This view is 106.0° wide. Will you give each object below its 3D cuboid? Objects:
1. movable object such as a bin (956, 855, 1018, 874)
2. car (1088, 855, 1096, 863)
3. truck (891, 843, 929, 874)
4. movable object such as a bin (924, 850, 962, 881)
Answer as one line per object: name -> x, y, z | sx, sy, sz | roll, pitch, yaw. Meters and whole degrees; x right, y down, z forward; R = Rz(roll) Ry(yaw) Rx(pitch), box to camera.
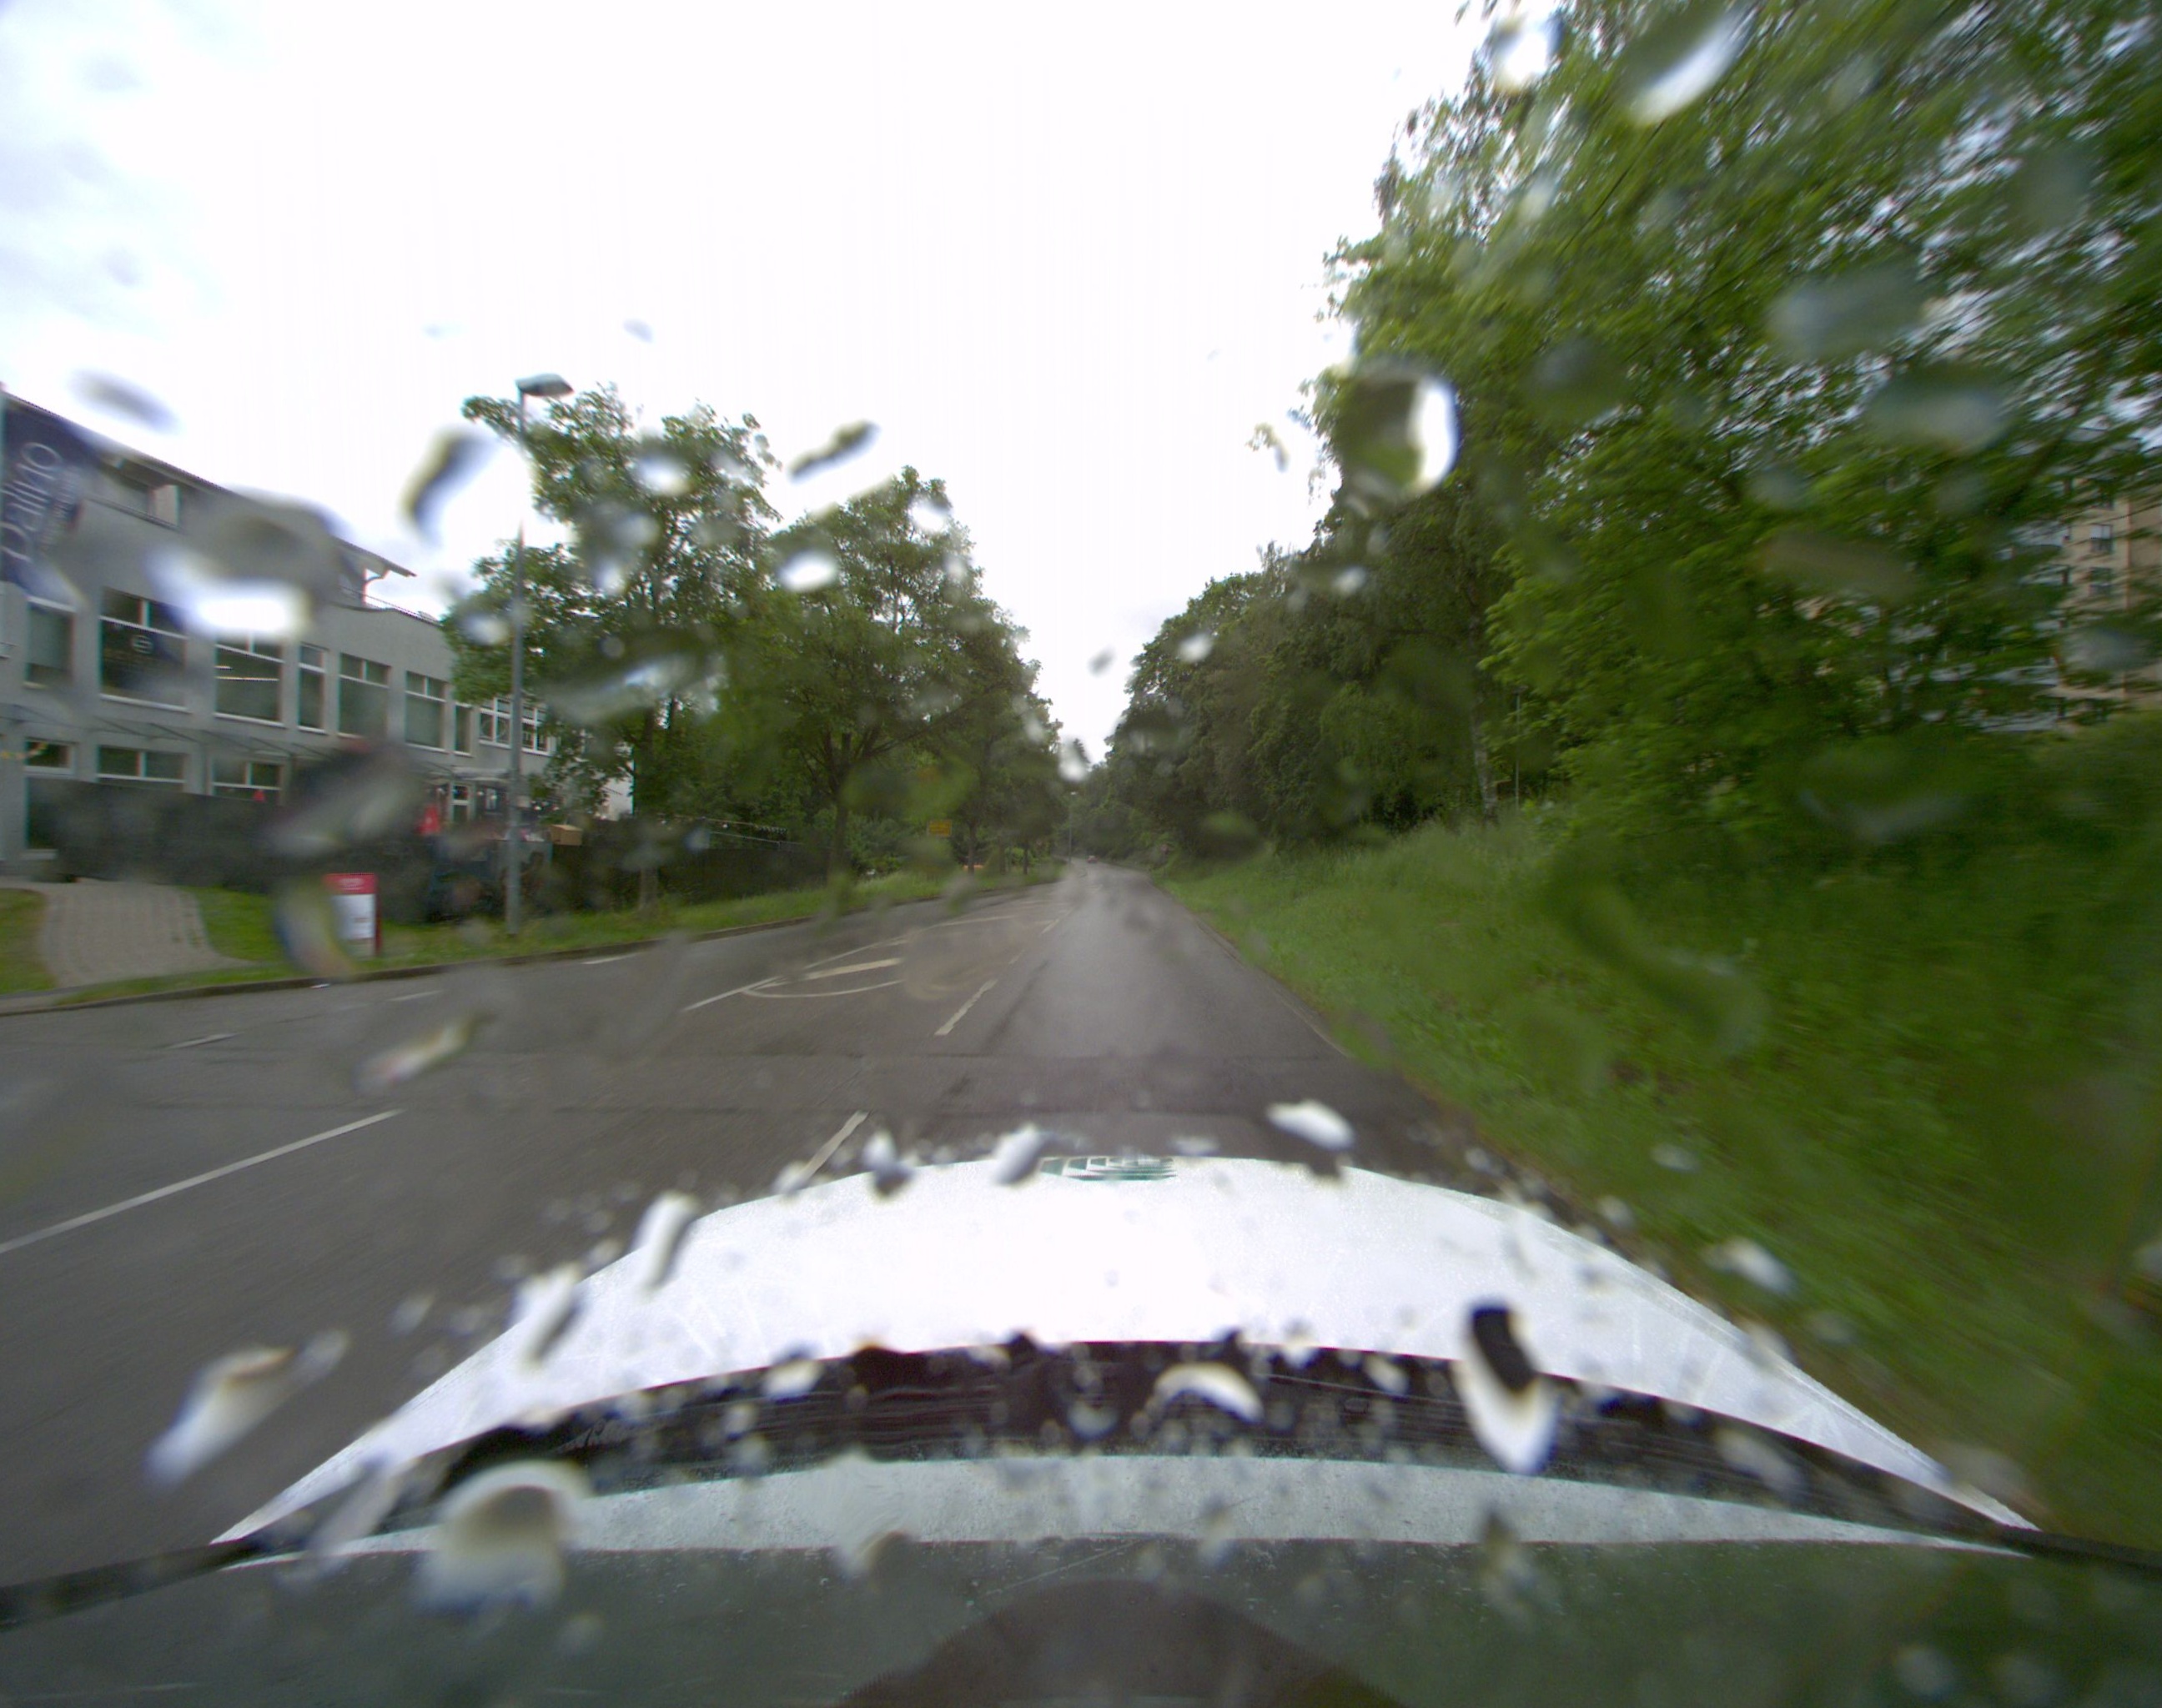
movable object such as a bin -> -9.842, 1.060, 86.384 | 1.828, 1.908, 7.958 | -1, -1, 34
car -> 2.324, 1.018, 170.726 | 1.730, 1.510, 4.001 | -1, 0, 1
truck -> -14.259, 0.386, 68.310 | 1.987, 2.458, 5.223 | 1, 0, 1
movable object such as a bin -> -13.453, 1.133, 79.582 | 1.978, 2.861, 4.018 | 1, -1, 18
